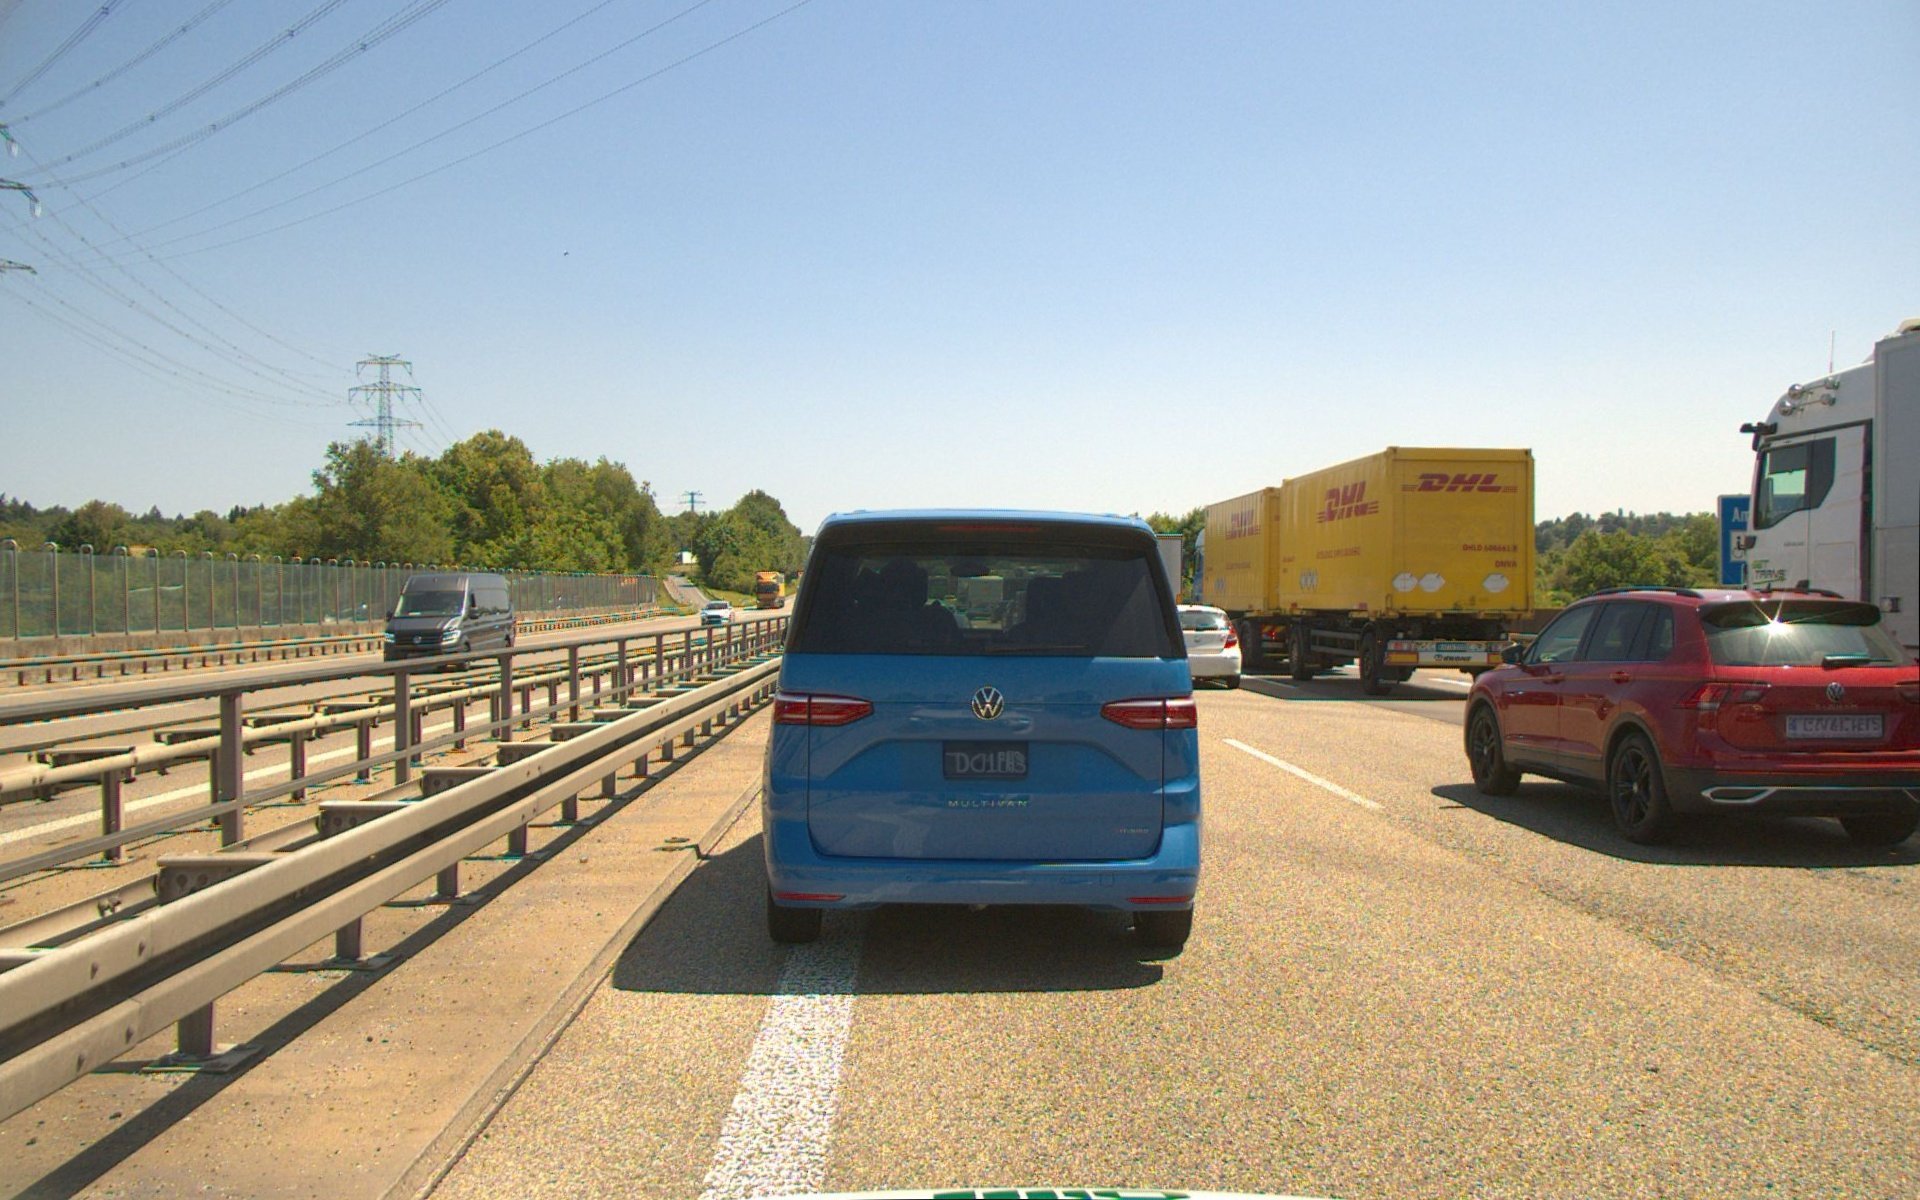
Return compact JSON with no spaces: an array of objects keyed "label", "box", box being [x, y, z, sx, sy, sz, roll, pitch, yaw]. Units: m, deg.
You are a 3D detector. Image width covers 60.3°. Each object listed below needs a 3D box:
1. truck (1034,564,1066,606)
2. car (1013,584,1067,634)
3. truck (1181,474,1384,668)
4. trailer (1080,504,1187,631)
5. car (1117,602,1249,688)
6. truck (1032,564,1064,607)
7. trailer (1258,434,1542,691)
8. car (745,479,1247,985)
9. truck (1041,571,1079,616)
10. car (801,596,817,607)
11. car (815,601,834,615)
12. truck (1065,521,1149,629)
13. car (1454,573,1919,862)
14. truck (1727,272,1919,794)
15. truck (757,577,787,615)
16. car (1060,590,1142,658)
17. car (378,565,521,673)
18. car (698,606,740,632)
[{"label":"truck","box":[5.911,-0.948,108.679,1.760,2.641,4.304,1,-1,-1]},{"label":"car","box":[3.278,0.392,68.482,1.922,1.970,3.931,1,-1,-2]},{"label":"truck","box":[7.680,-0.582,40.904,2.645,4.159,9.934,1,-1,-2]},{"label":"trailer","box":[6.879,-1.179,67.231,2.965,4.692,10.922,1,-1,-1]},{"label":"car","box":[4.150,0.815,31.351,1.779,1.496,3.929,1,-1,-3]},{"label":"truck","box":[5.500,-0.860,103.631,1.706,2.593,4.209,1,-1,-1]},{"label":"trailer","box":[8.030,-0.568,31.604,2.629,4.159,8.975,1,-1,-3]},{"label":"car","box":[0.097,0.528,8.337,1.891,1.906,3.999,1,-1,-2]},{"label":"truck","box":[5.708,-0.333,94.773,1.761,2.492,4.503,1,-1,-1]},{"label":"car","box":[-21.023,0.196,230.649,1.654,1.326,4.013,-3,-1,2]},{"label":"car","box":[-15.069,0.890,184.084,1.726,1.534,4.222,-1,0,-1]},{"label":"truck","box":[6.721,-1.072,76.653,2.965,4.692,7.919,1,-1,-1]},{"label":"car","box":[5.119,0.721,11.950,1.674,1.708,4.282,0,-1,-3]},{"label":"truck","box":[8.818,-0.517,10.375,2.794,4.003,10.605,1,-1,-2]},{"label":"truck","box":[-21.760,-0.440,191.531,2.617,4.258,6.287,0,-1,1]},{"label":"car","box":[3.731,0.627,44.423,1.778,1.708,3.931,1,-1,-1]},{"label":"car","box":[-13.567,0.498,44.386,1.954,2.627,6.647,-2,0,-3]},{"label":"car","box":[-14.922,1.169,102.577,1.953,1.571,4.384,-2,0,-1]}]
